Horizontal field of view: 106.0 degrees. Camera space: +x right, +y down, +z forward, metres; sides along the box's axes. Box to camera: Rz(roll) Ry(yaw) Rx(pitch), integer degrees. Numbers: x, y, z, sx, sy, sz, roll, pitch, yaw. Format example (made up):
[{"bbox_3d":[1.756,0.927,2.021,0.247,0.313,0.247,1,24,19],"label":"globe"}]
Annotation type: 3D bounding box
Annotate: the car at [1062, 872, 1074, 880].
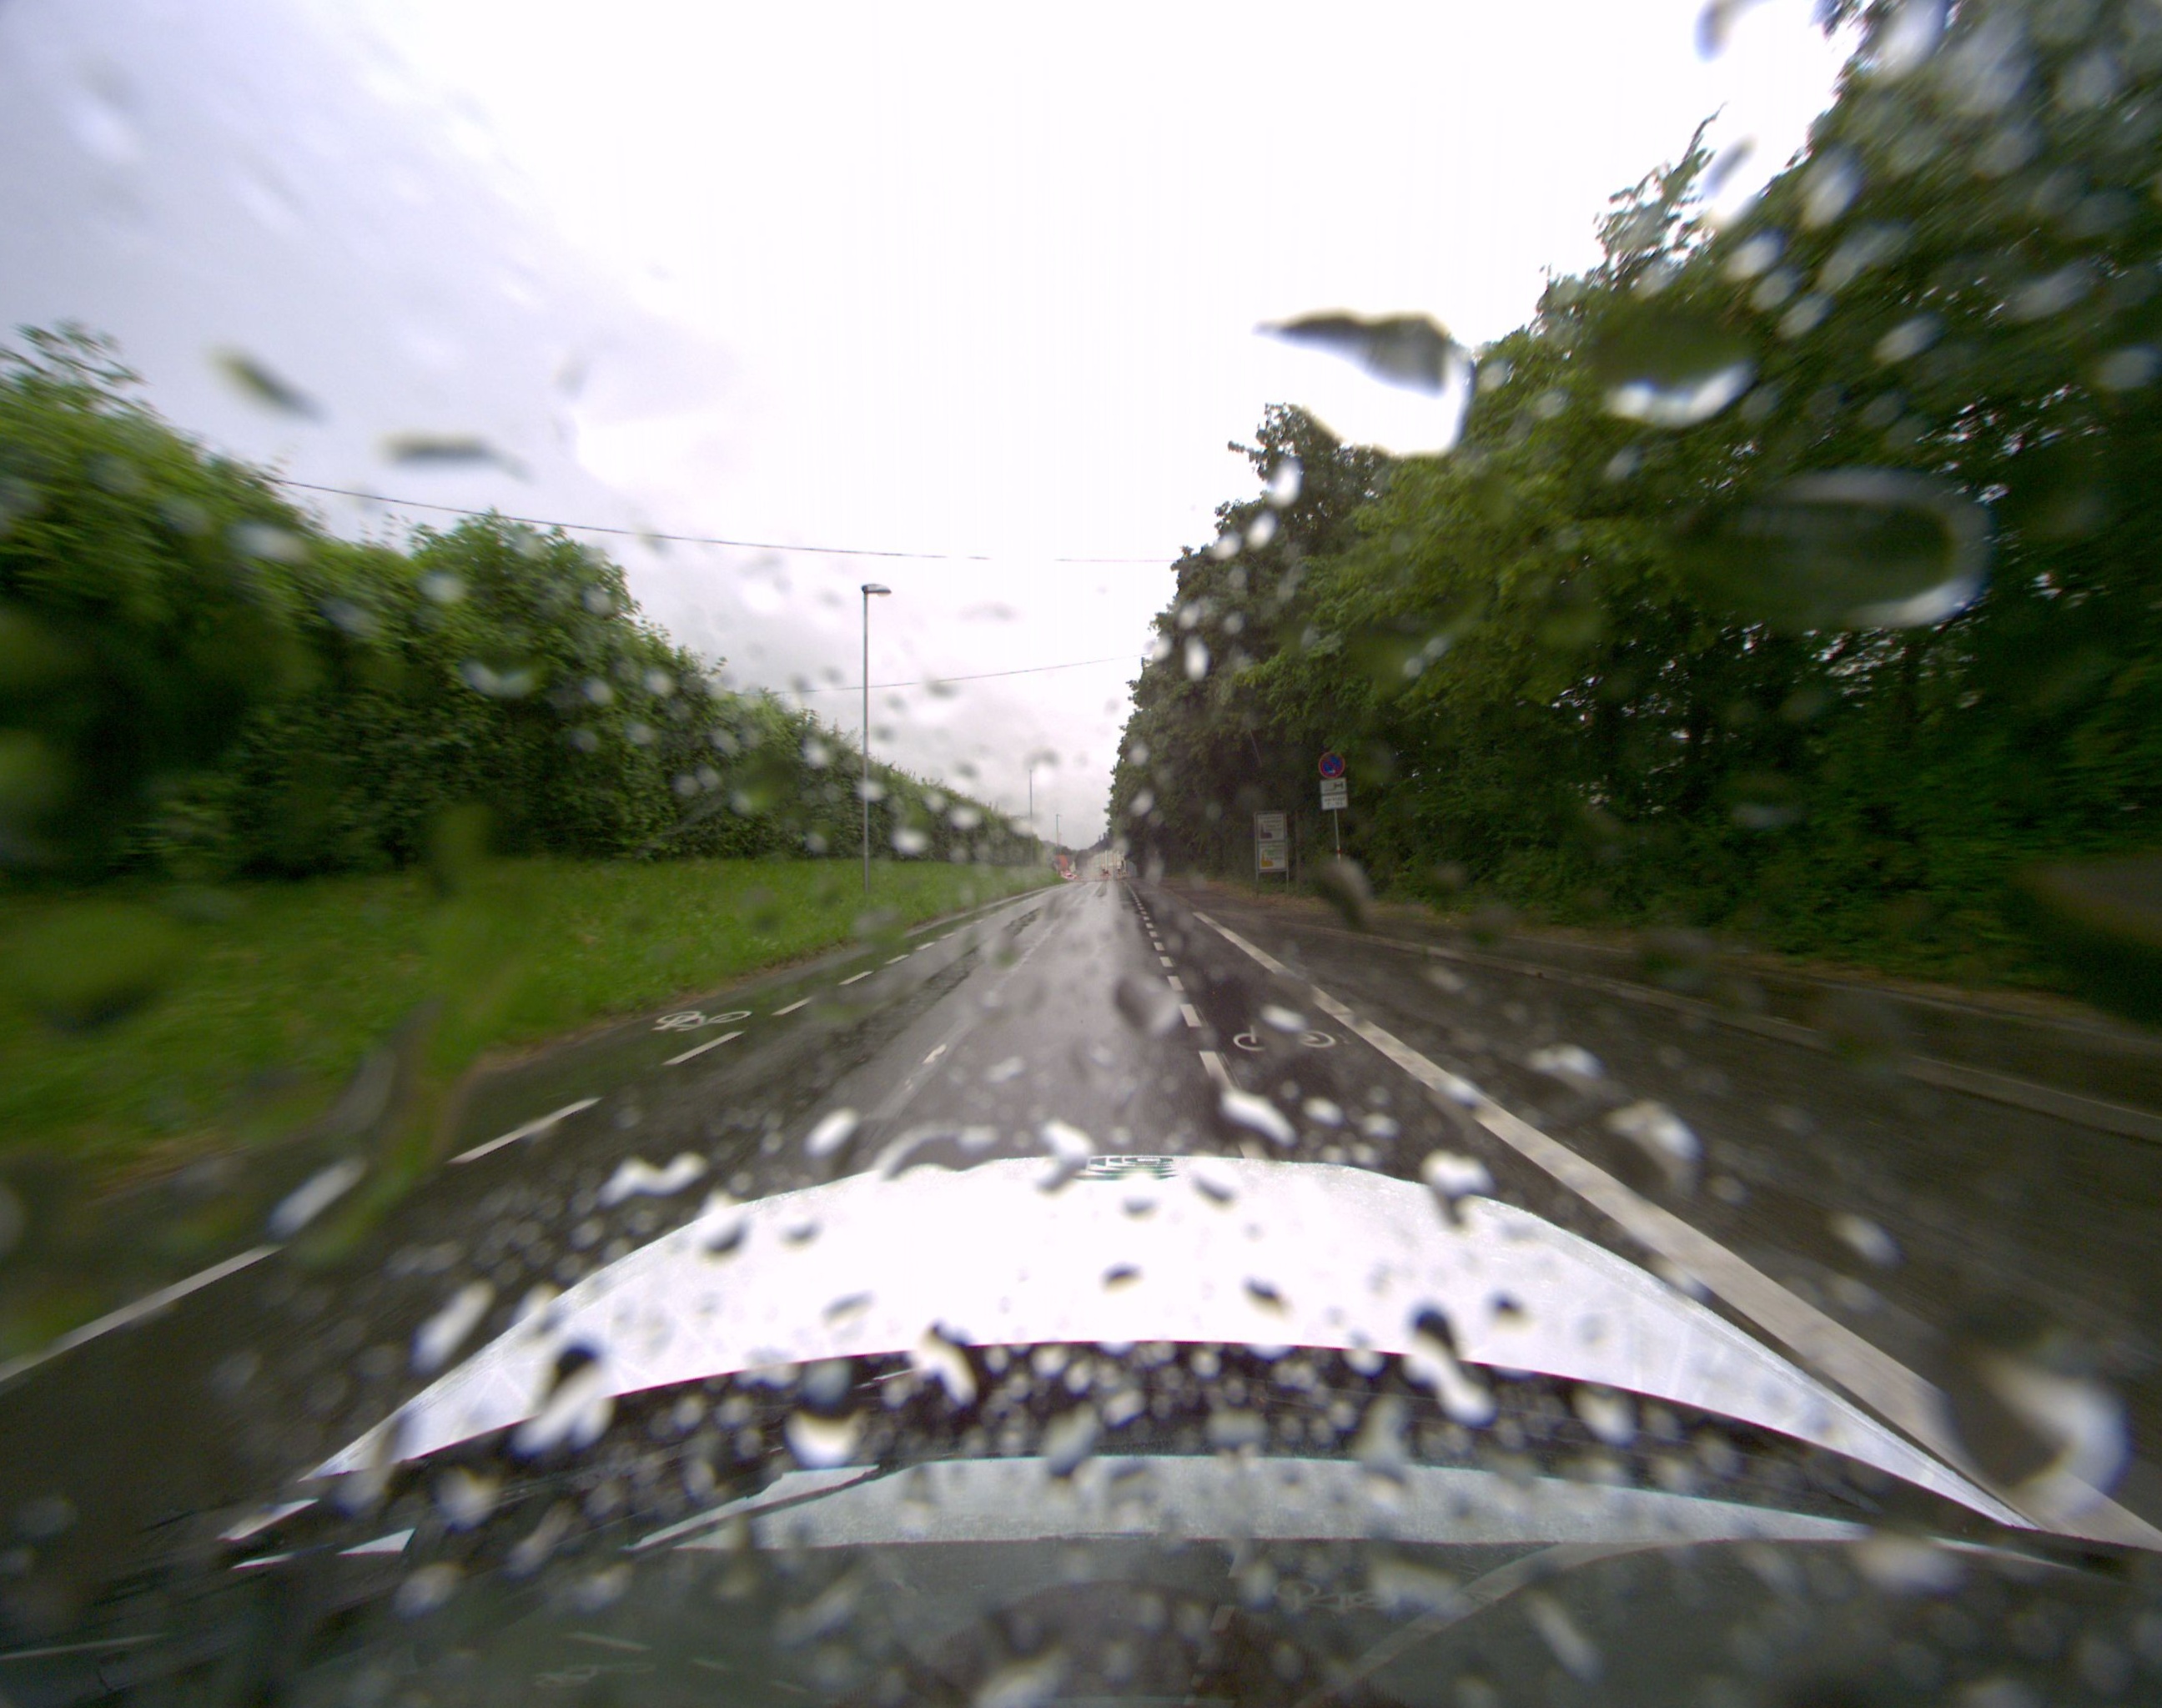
[{"bbox_3d":[-2.727,4.448,166.824,1.992,1.611,3.990,0,0,-7],"label":"car"}]
